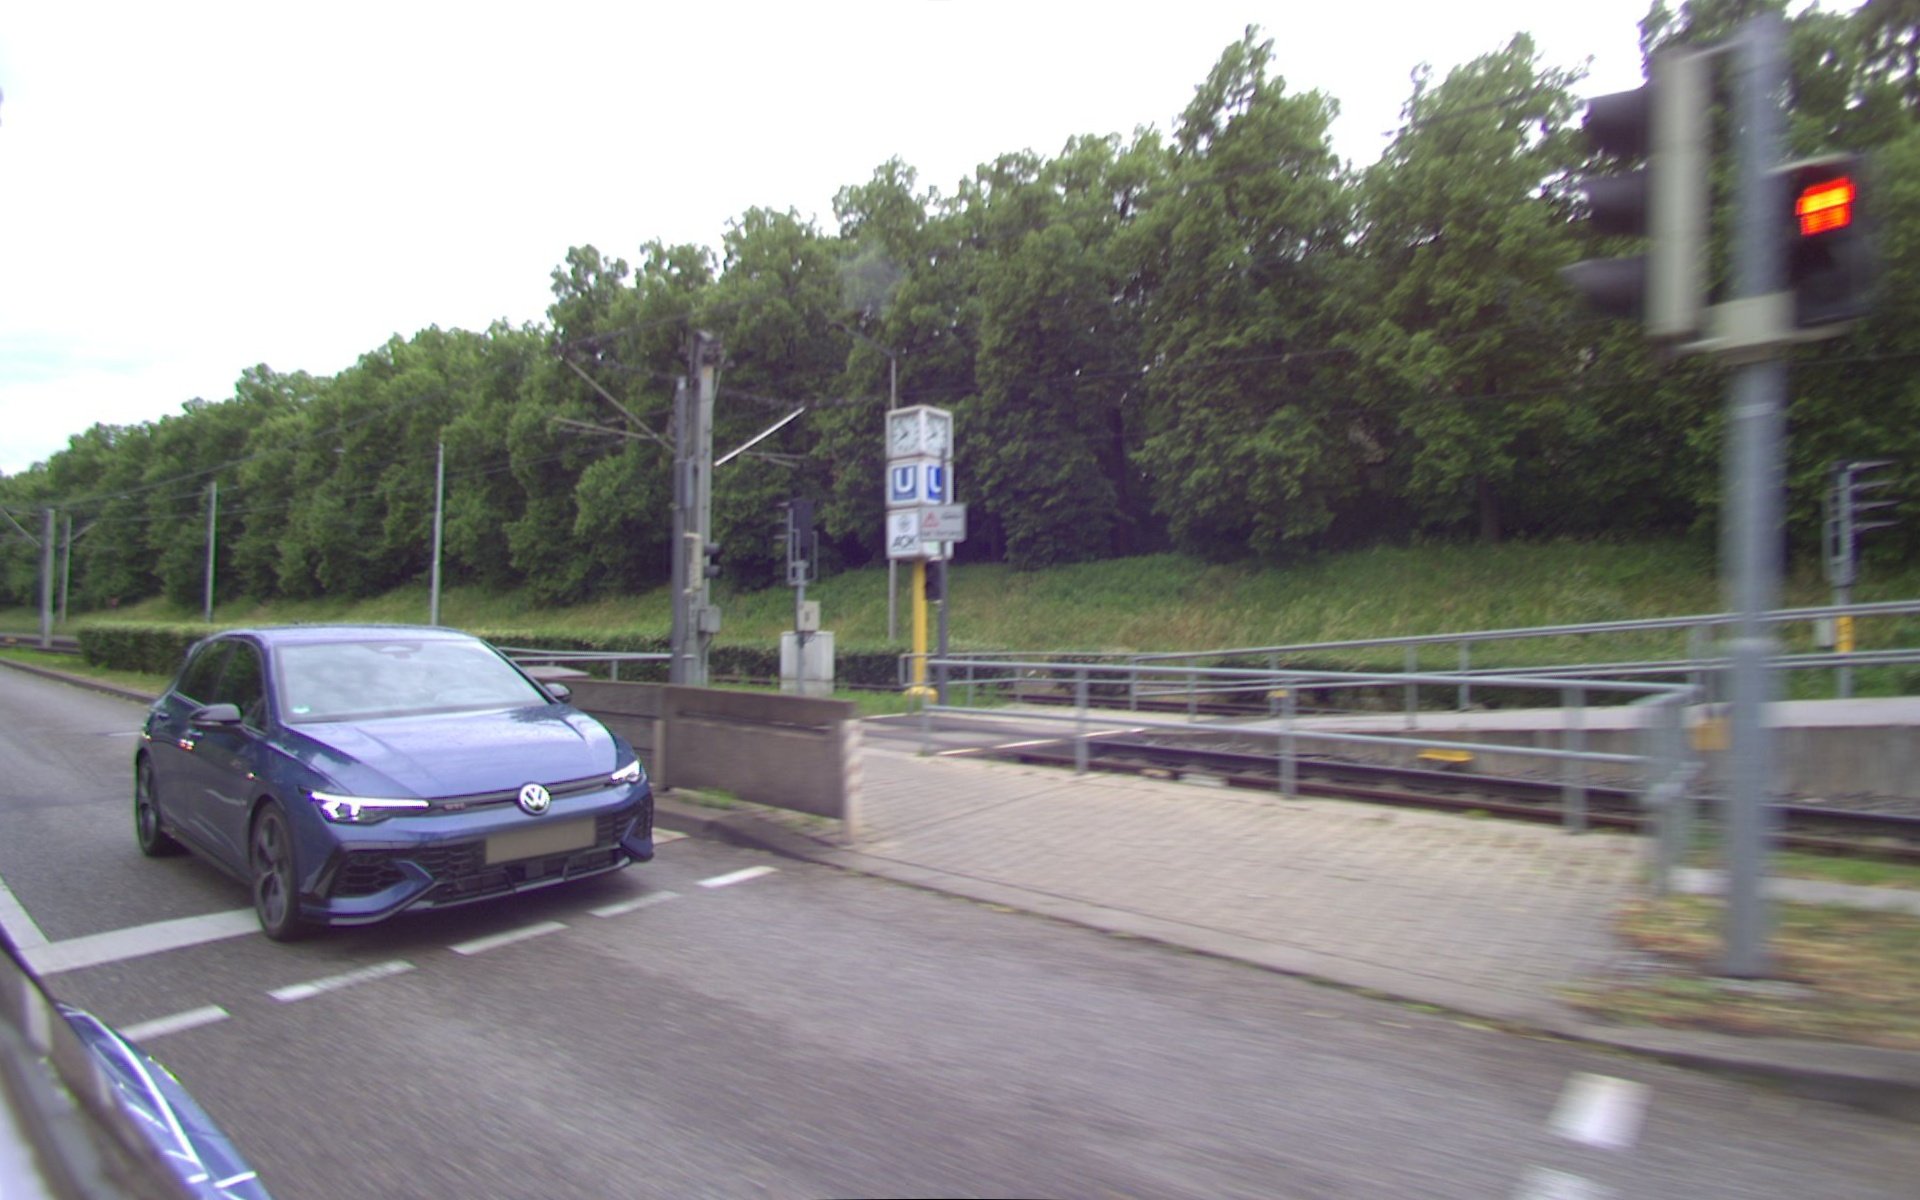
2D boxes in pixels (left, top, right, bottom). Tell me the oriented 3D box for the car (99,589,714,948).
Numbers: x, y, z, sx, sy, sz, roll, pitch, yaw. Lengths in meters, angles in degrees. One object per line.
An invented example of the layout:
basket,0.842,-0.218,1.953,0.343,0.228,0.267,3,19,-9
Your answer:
car,-3.516,0.692,6.037,4.344,1.389,1.790,-1,-1,40
